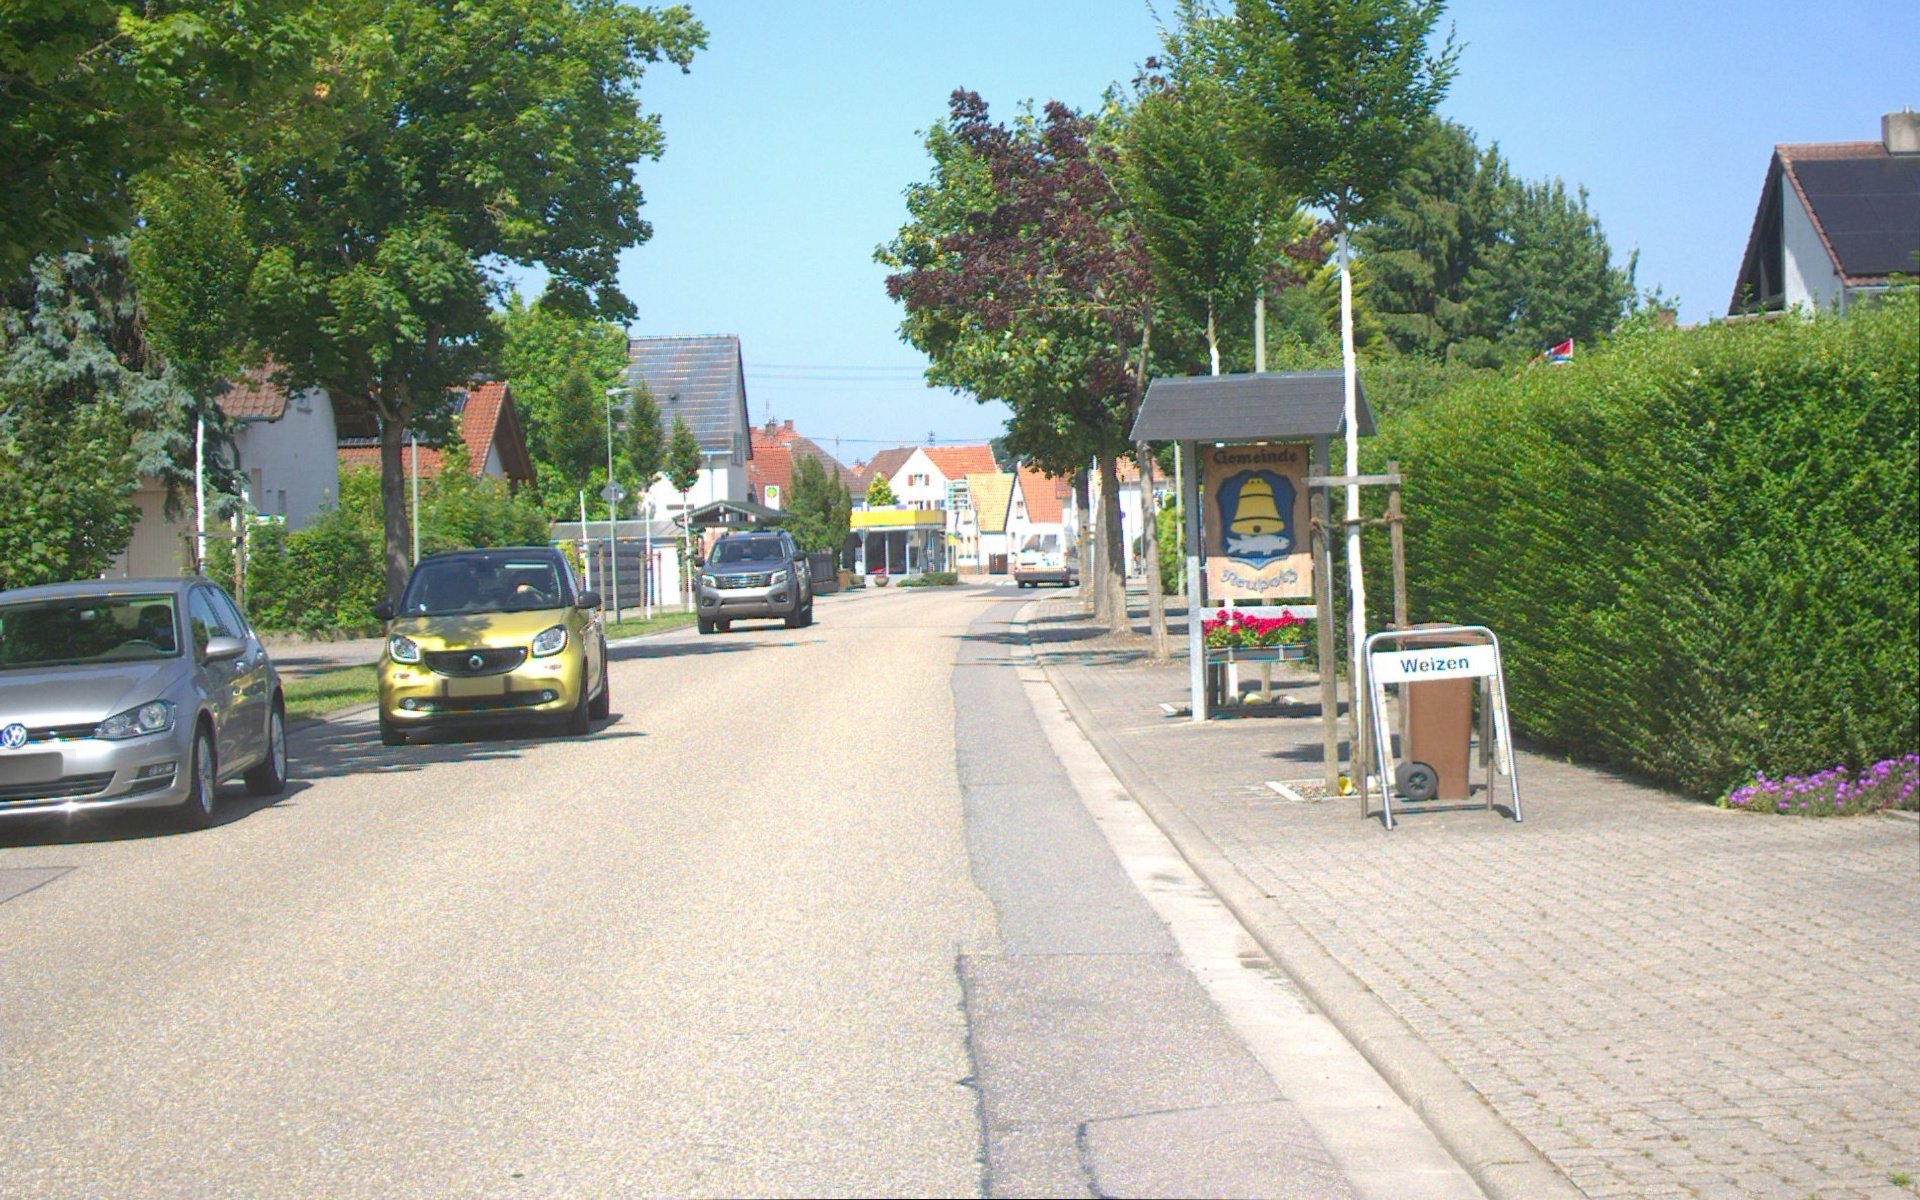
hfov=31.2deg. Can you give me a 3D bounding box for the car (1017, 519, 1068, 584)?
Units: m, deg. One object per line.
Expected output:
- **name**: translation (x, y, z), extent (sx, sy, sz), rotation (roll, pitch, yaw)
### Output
- **car**: translation (3.193, -1.875, 132.847), extent (1.738, 2.424, 4.374), rotation (-2, 1, 3)

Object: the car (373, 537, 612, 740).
- **car**: translation (-3.848, 0.274, 28.748), extent (1.665, 1.519, 3.443), rotation (-3, 1, -4)

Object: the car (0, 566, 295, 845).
- **car**: translation (-5.149, 0.569, 20.525), extent (1.647, 1.419, 4.081), rotation (-4, 1, -3)

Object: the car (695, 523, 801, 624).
- **car**: translation (-3.870, -0.513, 63.222), extent (1.835, 1.747, 3.796), rotation (-2, 1, -3)
